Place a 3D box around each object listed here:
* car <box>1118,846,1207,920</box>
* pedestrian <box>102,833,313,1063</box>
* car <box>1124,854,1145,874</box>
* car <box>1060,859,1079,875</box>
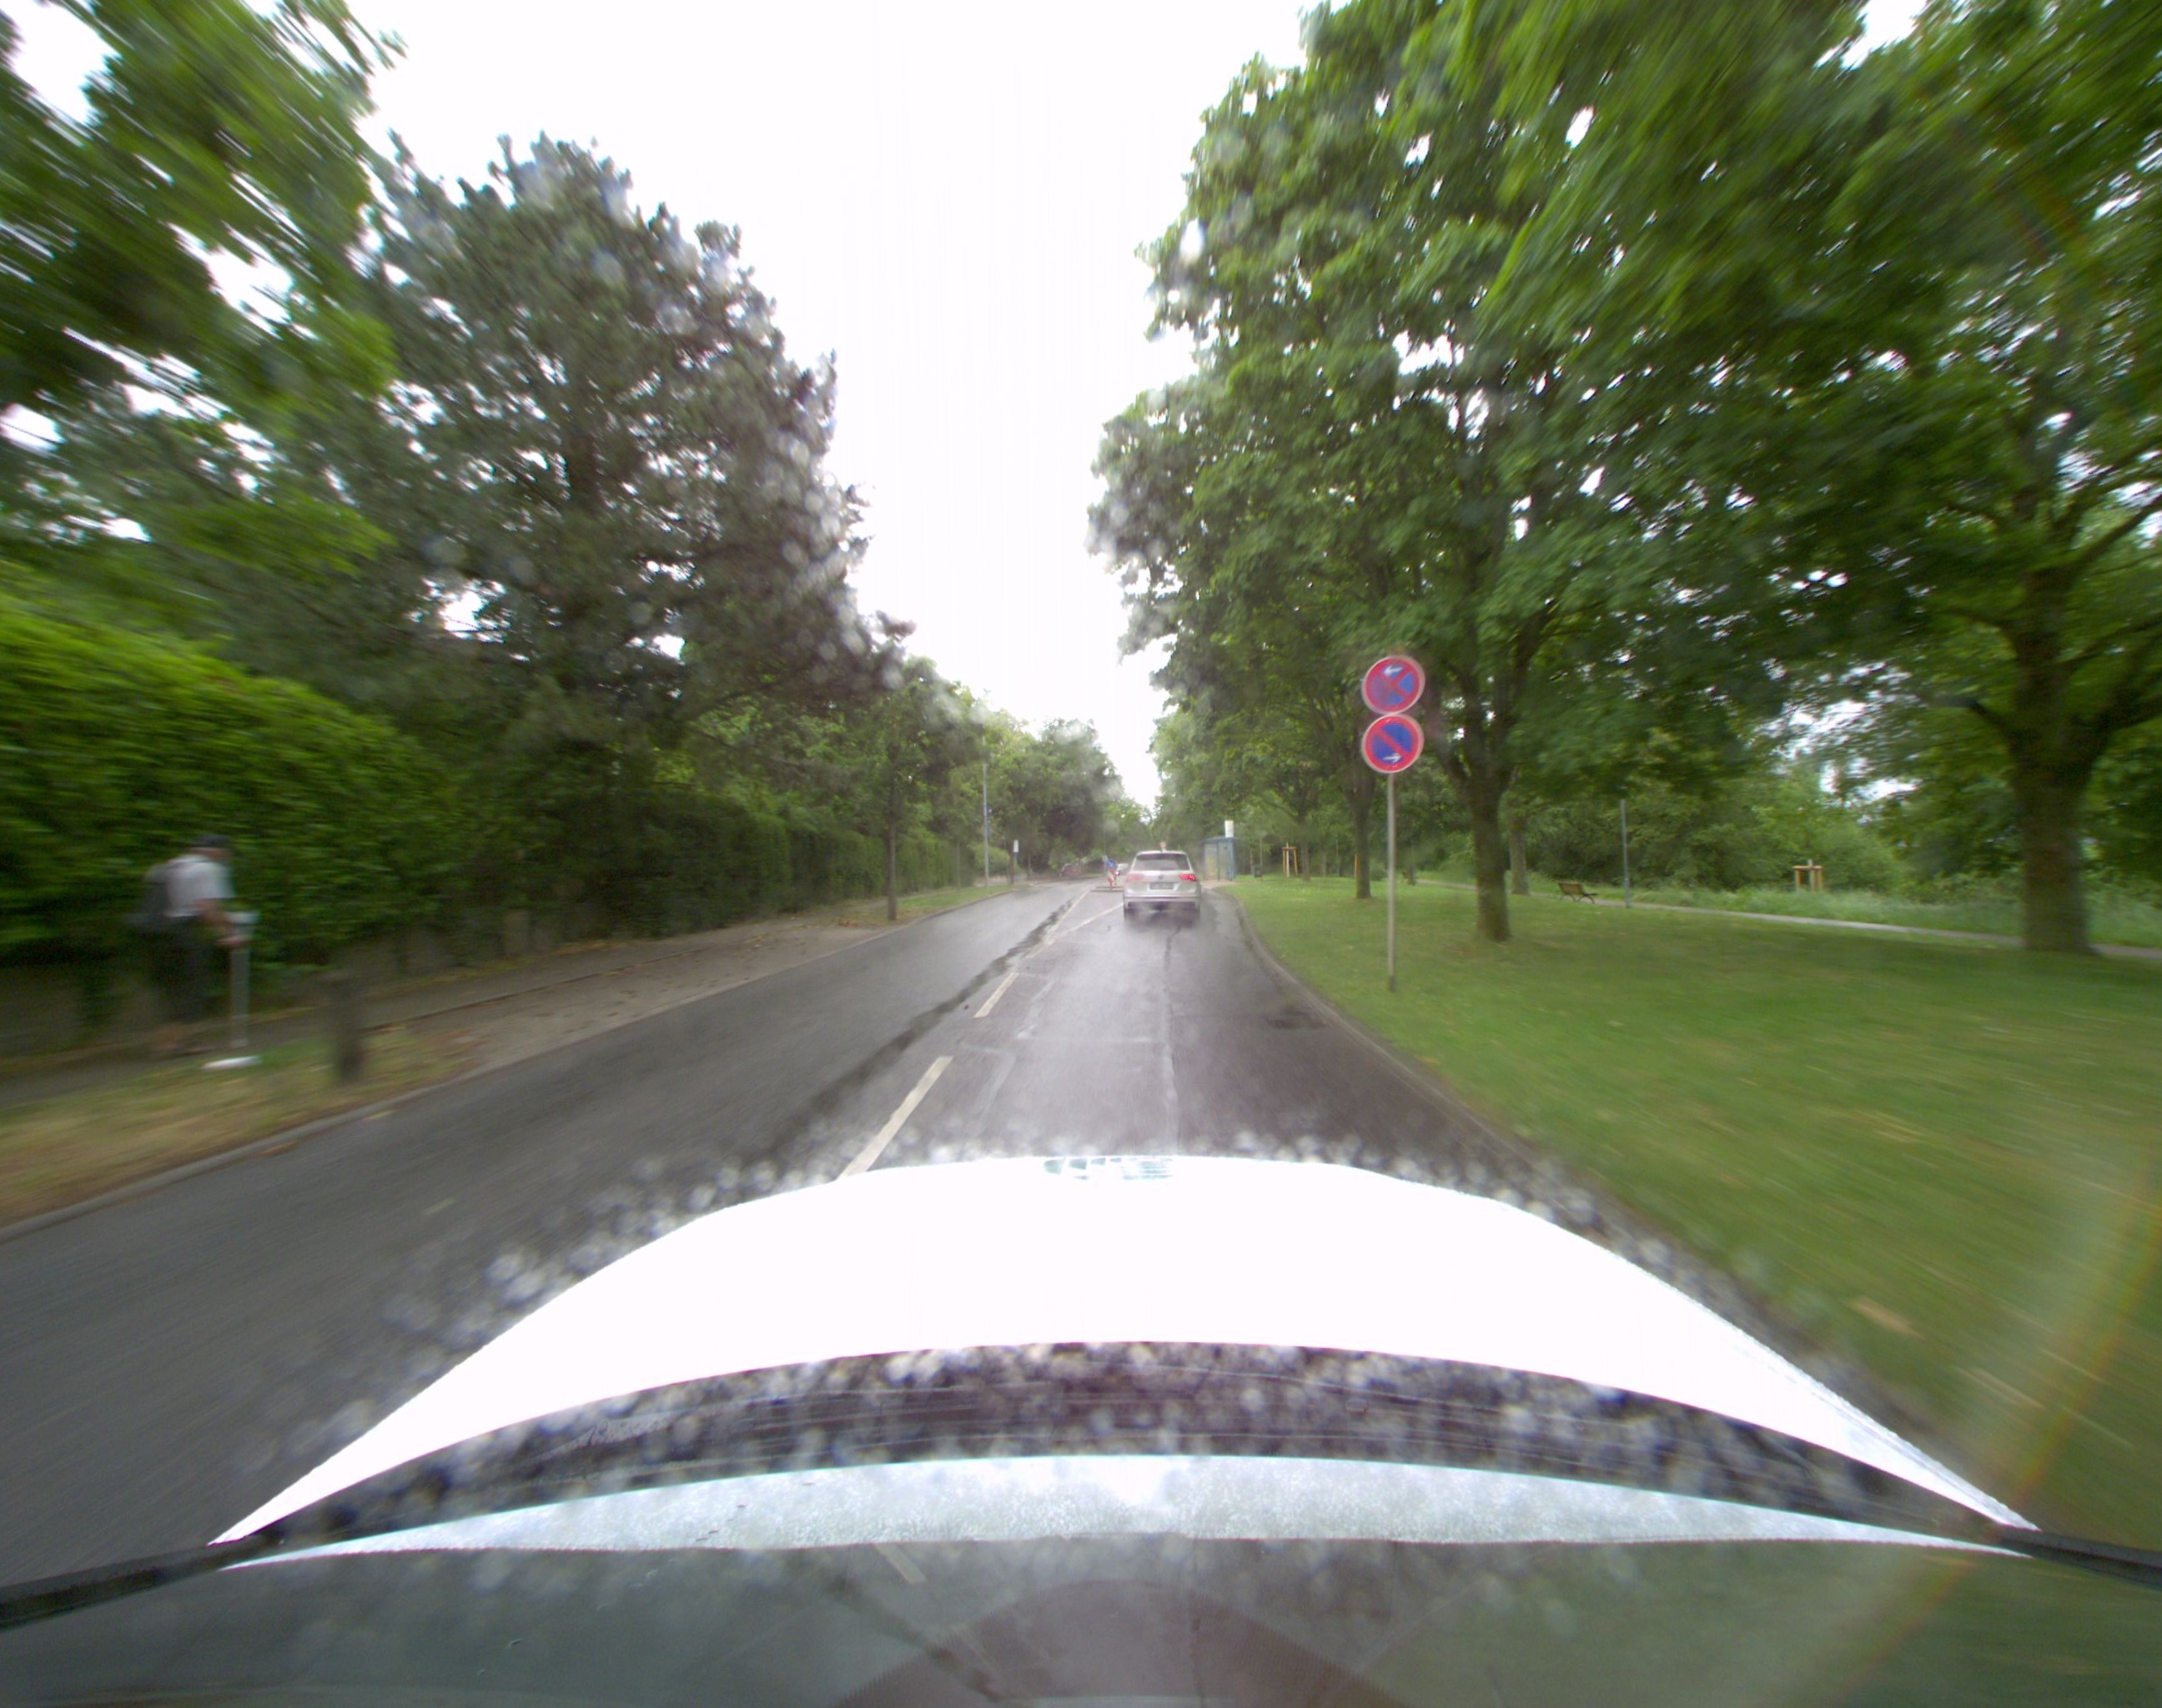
[{"bbox_3d":[1.953,0.667,20.496,1.966,1.653,4.180,-1,0,3],"label":"car"},{"bbox_3d":[-6.827,0.681,6.423,0.778,1.662,0.840,-1,0,-12],"label":"pedestrian"},{"bbox_3d":[5.376,1.053,82.578,1.894,2.014,3.944,0,-2,1],"label":"car"},{"bbox_3d":[-1.256,1.476,90.399,1.986,1.763,4.000,0,-2,1],"label":"car"}]
